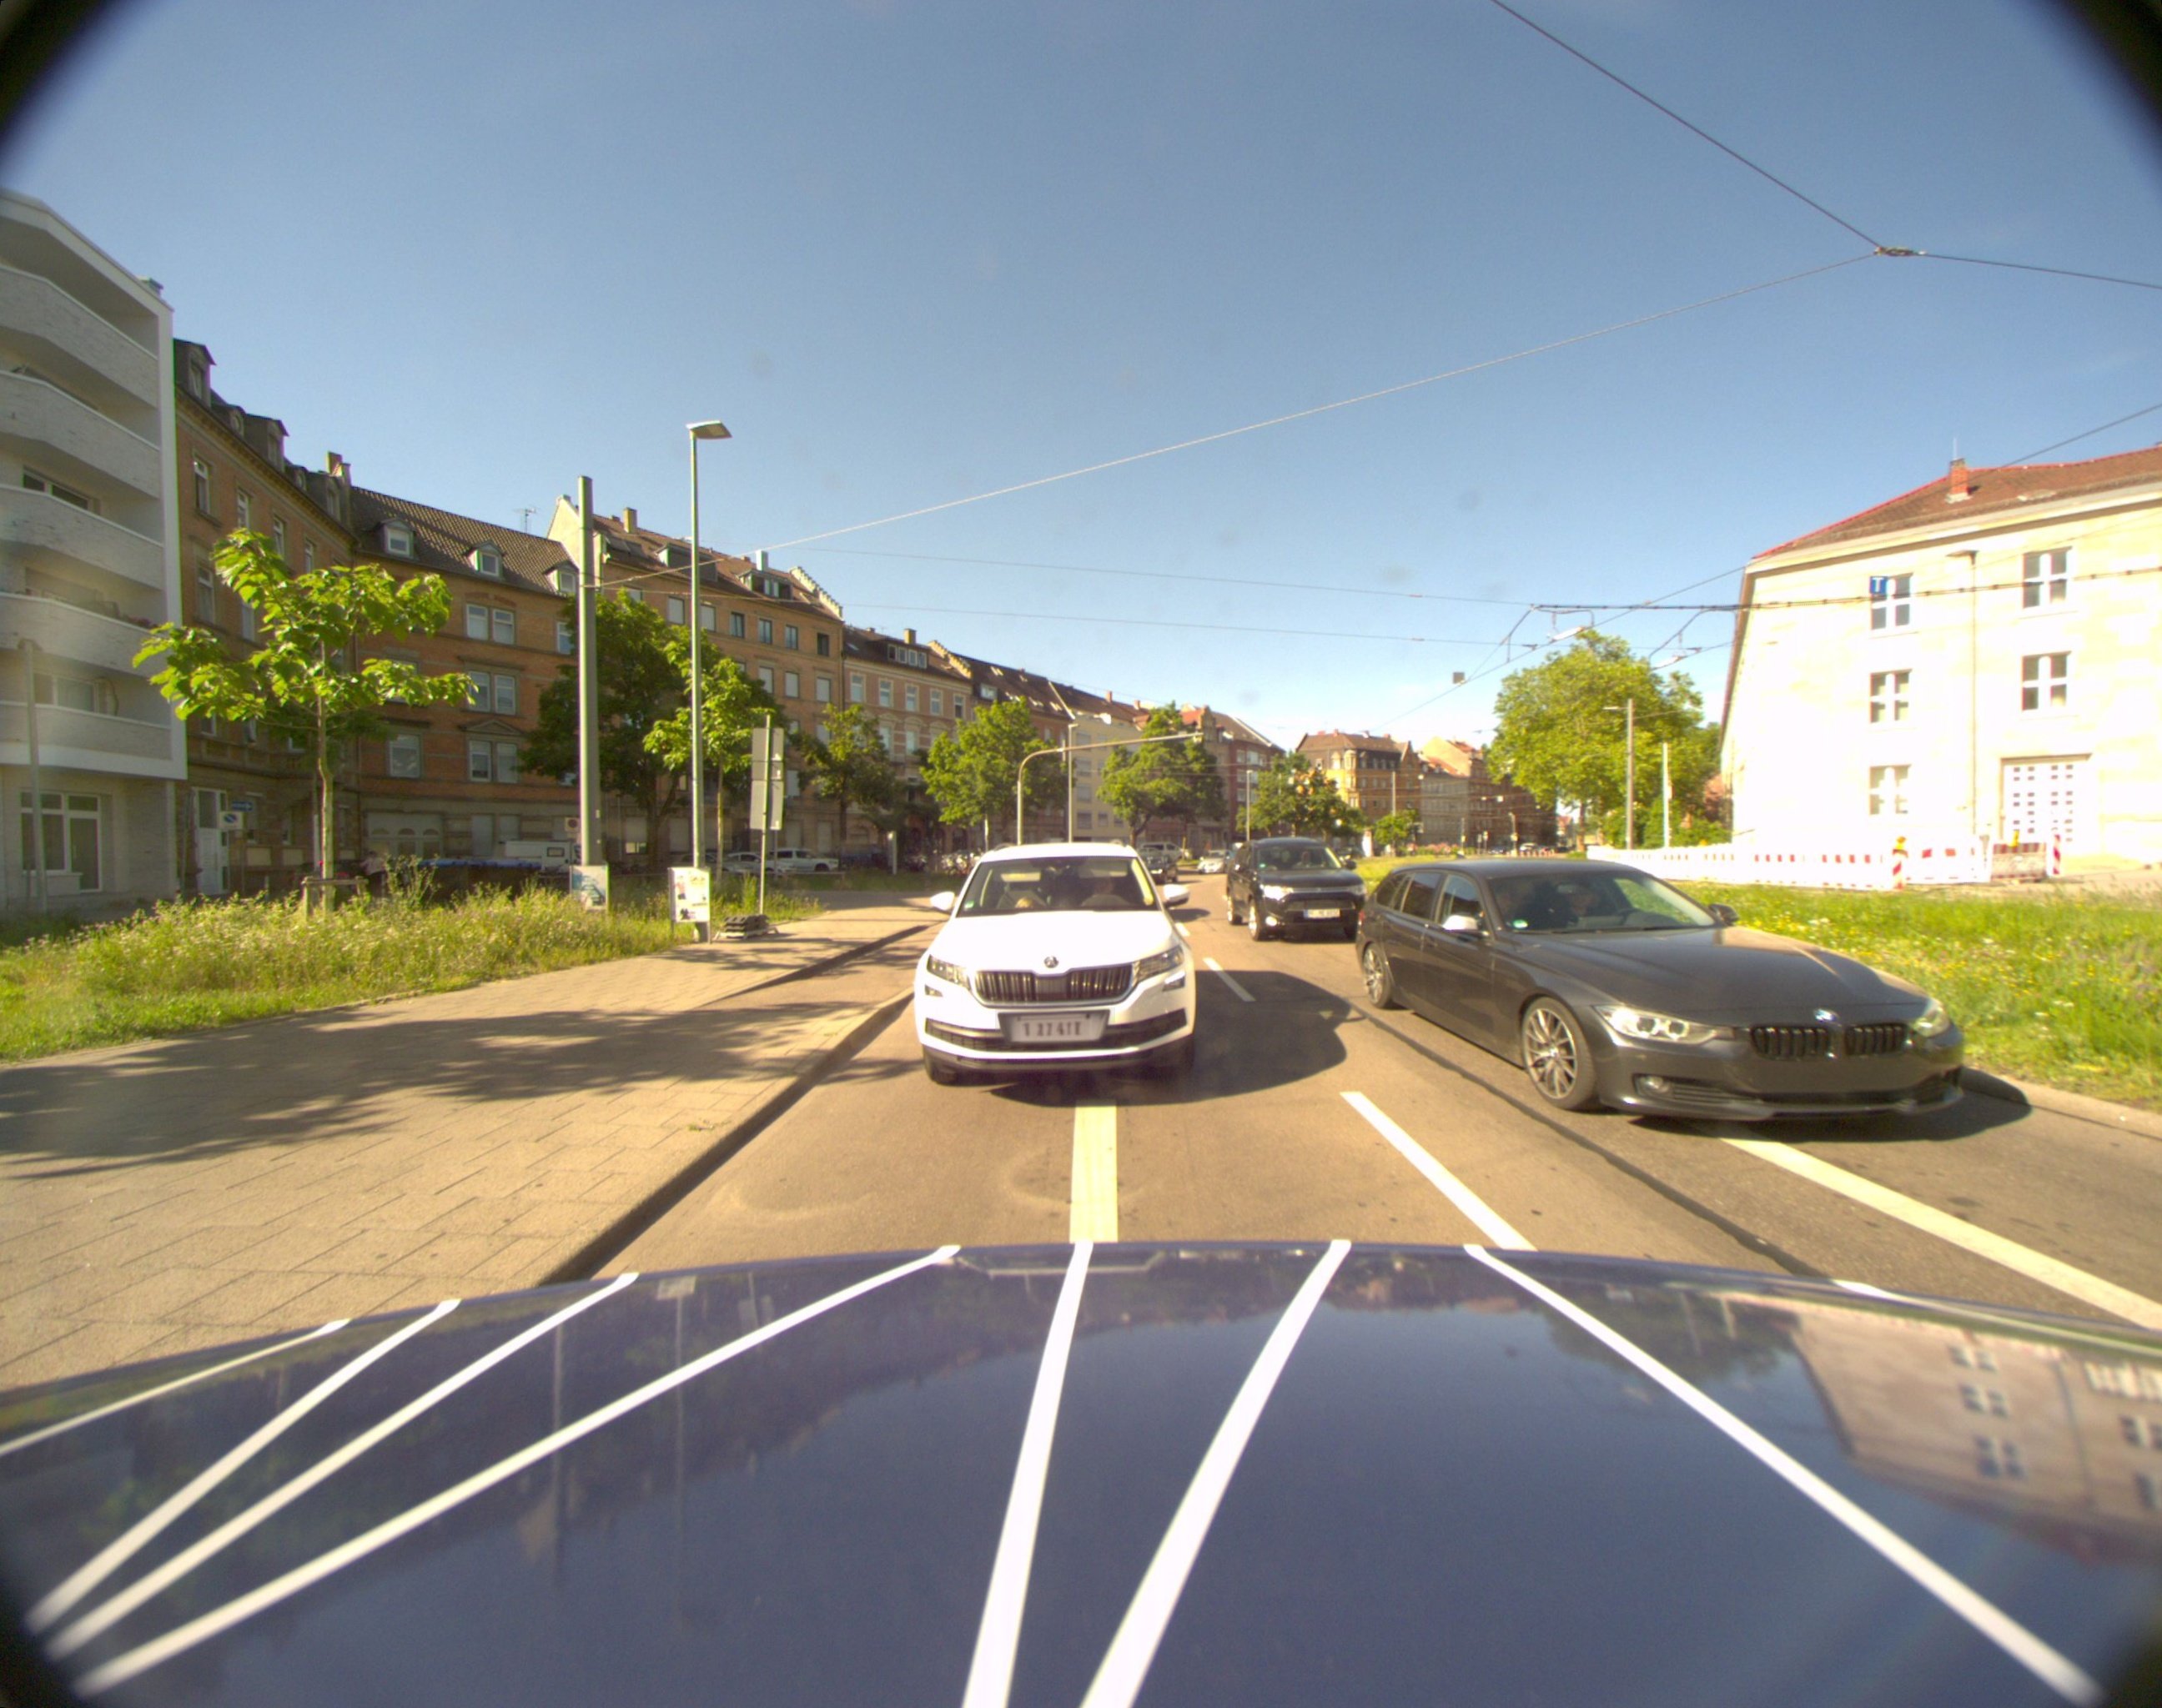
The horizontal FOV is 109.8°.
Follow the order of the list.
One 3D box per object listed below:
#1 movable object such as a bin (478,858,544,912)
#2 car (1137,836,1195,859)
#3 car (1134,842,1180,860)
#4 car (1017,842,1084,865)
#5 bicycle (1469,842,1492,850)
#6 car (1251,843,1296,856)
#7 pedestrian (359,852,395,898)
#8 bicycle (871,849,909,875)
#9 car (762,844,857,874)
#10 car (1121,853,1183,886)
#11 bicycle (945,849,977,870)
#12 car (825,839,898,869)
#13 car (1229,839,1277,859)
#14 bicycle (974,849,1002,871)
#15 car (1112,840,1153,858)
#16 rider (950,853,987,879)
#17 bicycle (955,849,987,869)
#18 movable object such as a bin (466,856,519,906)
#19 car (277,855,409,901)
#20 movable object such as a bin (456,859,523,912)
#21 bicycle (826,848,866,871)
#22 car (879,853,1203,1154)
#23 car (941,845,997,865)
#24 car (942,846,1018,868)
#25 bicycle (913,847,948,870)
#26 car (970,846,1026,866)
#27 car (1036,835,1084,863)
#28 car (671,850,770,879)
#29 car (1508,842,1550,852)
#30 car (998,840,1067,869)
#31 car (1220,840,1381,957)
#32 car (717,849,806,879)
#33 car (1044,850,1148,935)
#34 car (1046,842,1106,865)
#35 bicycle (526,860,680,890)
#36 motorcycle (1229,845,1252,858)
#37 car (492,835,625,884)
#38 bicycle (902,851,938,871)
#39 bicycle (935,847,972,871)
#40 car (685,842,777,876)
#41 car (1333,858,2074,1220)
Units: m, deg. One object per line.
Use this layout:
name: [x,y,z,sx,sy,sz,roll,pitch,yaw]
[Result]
movable object such as a bin: [-15.380,0.805,20.544,1.306,1.390,1.069,-1,1,-31]
car: [7.967,-0.663,70.824,5.179,2.002,2.102,1,2,10]
car: [6.835,-0.284,68.279,4.025,1.470,1.813,1,2,5]
car: [-2.358,-0.030,59.110,4.872,1.639,2.102,1,2,10]
bicycle: [74.191,-1.523,141.169,1.964,1.408,6.841,3,3,43]
car: [22.889,-0.515,90.442,4.874,1.427,2.021,1,1,6]
pedestrian: [-24.565,0.712,26.518,0.641,1.568,0.773,0,2,39]
bicycle: [-10.866,0.451,43.186,2.094,1.390,0.789,-1,1,28]
car: [-14.724,0.258,41.356,4.464,1.556,1.939,-1,1,8]
car: [3.421,0.676,35.883,1.887,1.419,4.382,-1,1,19]
bicycle: [-7.382,0.339,46.622,1.957,1.185,0.843,2,2,39]
car: [-15.566,-0.022,54.186,1.994,1.966,4.734,2,1,38]
car: [19.176,-0.580,84.840,4.875,2.063,2.021,1,1,4]
bicycle: [-5.592,0.368,45.730,1.598,1.283,0.769,0,1,-11]
car: [5.522,-0.549,81.223,1.994,1.789,4.636,2,1,38]
rider: [-5.421,0.564,36.706,1.678,1.169,0.502,-3,2,-34]
bicycle: [-6.853,0.320,47.384,1.945,1.174,0.902,2,2,38]
movable object such as a bin: [-17.212,0.777,22.249,1.092,1.390,1.029,-1,1,-31]
car: [-25.920,0.793,26.896,2.002,1.428,4.099,-2,1,-24]
movable object such as a bin: [-16.448,0.855,21.191,1.323,1.390,1.108,-1,1,-31]
bicycle: [-14.057,0.321,45.419,2.099,1.357,0.787,-1,1,-2]
car: [-0.204,0.850,6.495,1.801,1.626,4.393,-1,1,0]
car: [-9.231,0.062,62.810,1.994,1.520,4.522,2,1,35]
car: [-6.815,0.196,51.421,4.747,1.372,2.047,-1,1,5]
bicycle: [-9.132,0.265,46.013,2.094,1.357,0.789,-1,1,34]
car: [-5.847,0.139,53.927,3.610,1.372,1.926,-1,1,5]
car: [-1.961,-0.485,71.851,1.994,2.570,4.522,2,2,40]
car: [-17.504,0.518,36.963,4.049,1.329,1.841,-1,1,14]
car: [64.030,-0.988,108.561,4.946,1.445,1.839,1,2,40]
car: [-3.555,-0.009,56.313,4.874,2.002,2.101,1,2,5]
car: [3.651,0.644,13.508,1.840,1.672,4.644,-2,0,5]
car: [-16.367,0.507,39.043,3.838,1.433,1.761,-1,1,8]
car: [0.387,0.740,16.914,1.998,1.608,4.264,-1,1,3]
car: [-0.397,-0.096,61.417,4.505,1.718,2.001,1,2,10]
bicycle: [-21.489,0.896,34.410,2.676,1.120,5.232,0,1,34]
motorcycle: [17.274,-0.254,82.534,2.262,1.412,0.854,0,1,-10]
car: [-26.932,0.239,39.329,2.349,2.344,5.199,2,2,40]
bicycle: [-9.563,0.396,45.146,2.163,1.152,0.824,-1,1,35]
bicycle: [-7.436,0.270,44.235,2.094,1.357,0.789,0,1,34]
car: [-21.439,0.278,46.730,1.994,1.966,4.734,2,1,39]
car: [3.458,0.825,5.549,1.738,1.415,4.467,-4,1,1]
